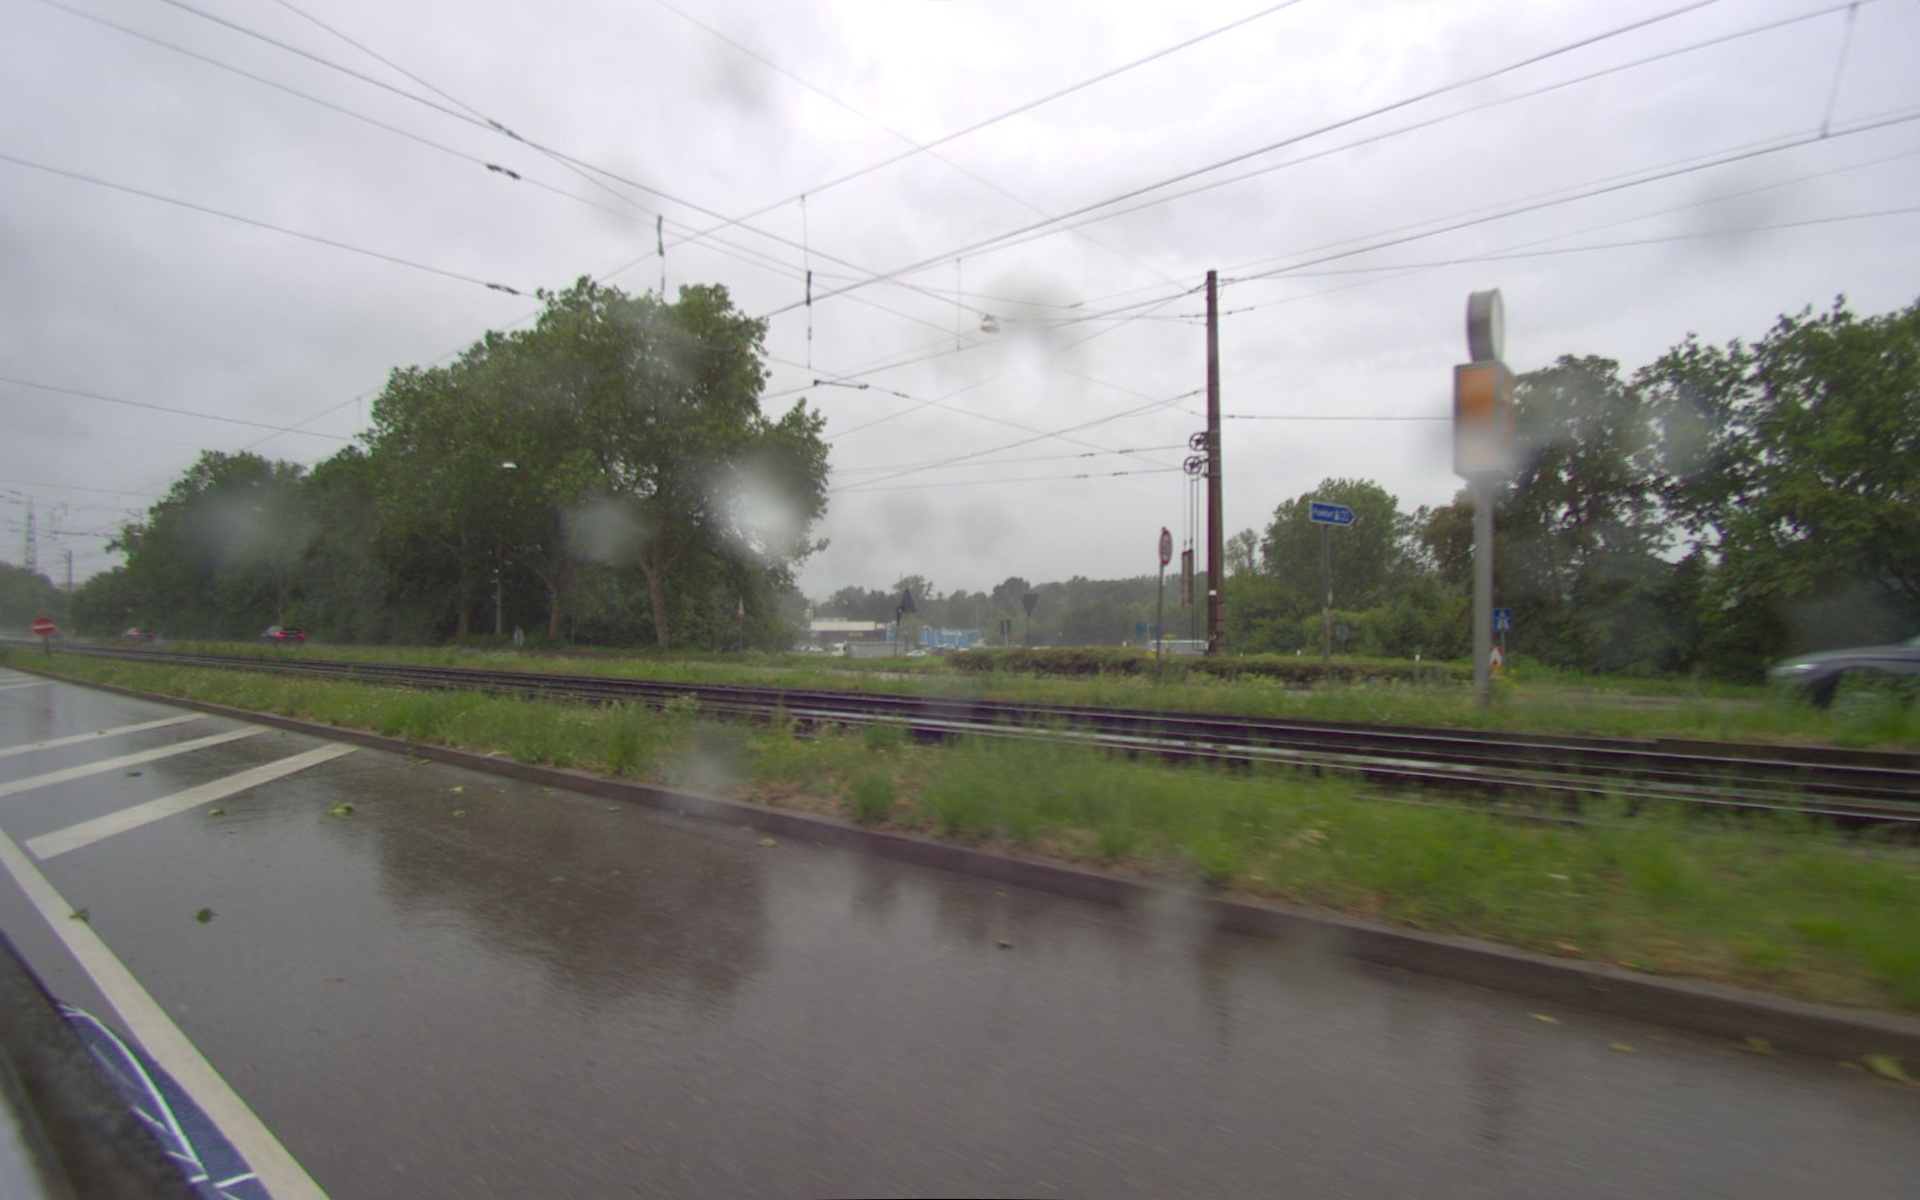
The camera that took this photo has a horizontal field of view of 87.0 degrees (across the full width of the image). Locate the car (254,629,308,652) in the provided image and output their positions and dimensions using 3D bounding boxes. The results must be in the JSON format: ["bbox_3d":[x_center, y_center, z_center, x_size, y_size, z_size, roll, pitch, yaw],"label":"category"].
[{"bbox_3d":[-48.423,2.848,72.173,4.277,1.540,2.189,-2,-2,41],"label":"car"}]

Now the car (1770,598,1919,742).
[{"bbox_3d":[12.412,0.776,11.446,4.981,1.628,1.925,-2,-2,38],"label":"car"}]

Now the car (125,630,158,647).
[{"bbox_3d":[-76.866,3.614,95.017,4.044,1.580,1.634,-1,-1,40],"label":"car"}]

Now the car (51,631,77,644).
[{"bbox_3d":[-101.748,4.247,114.857,3.936,1.417,1.665,-1,-1,40],"label":"car"}]
